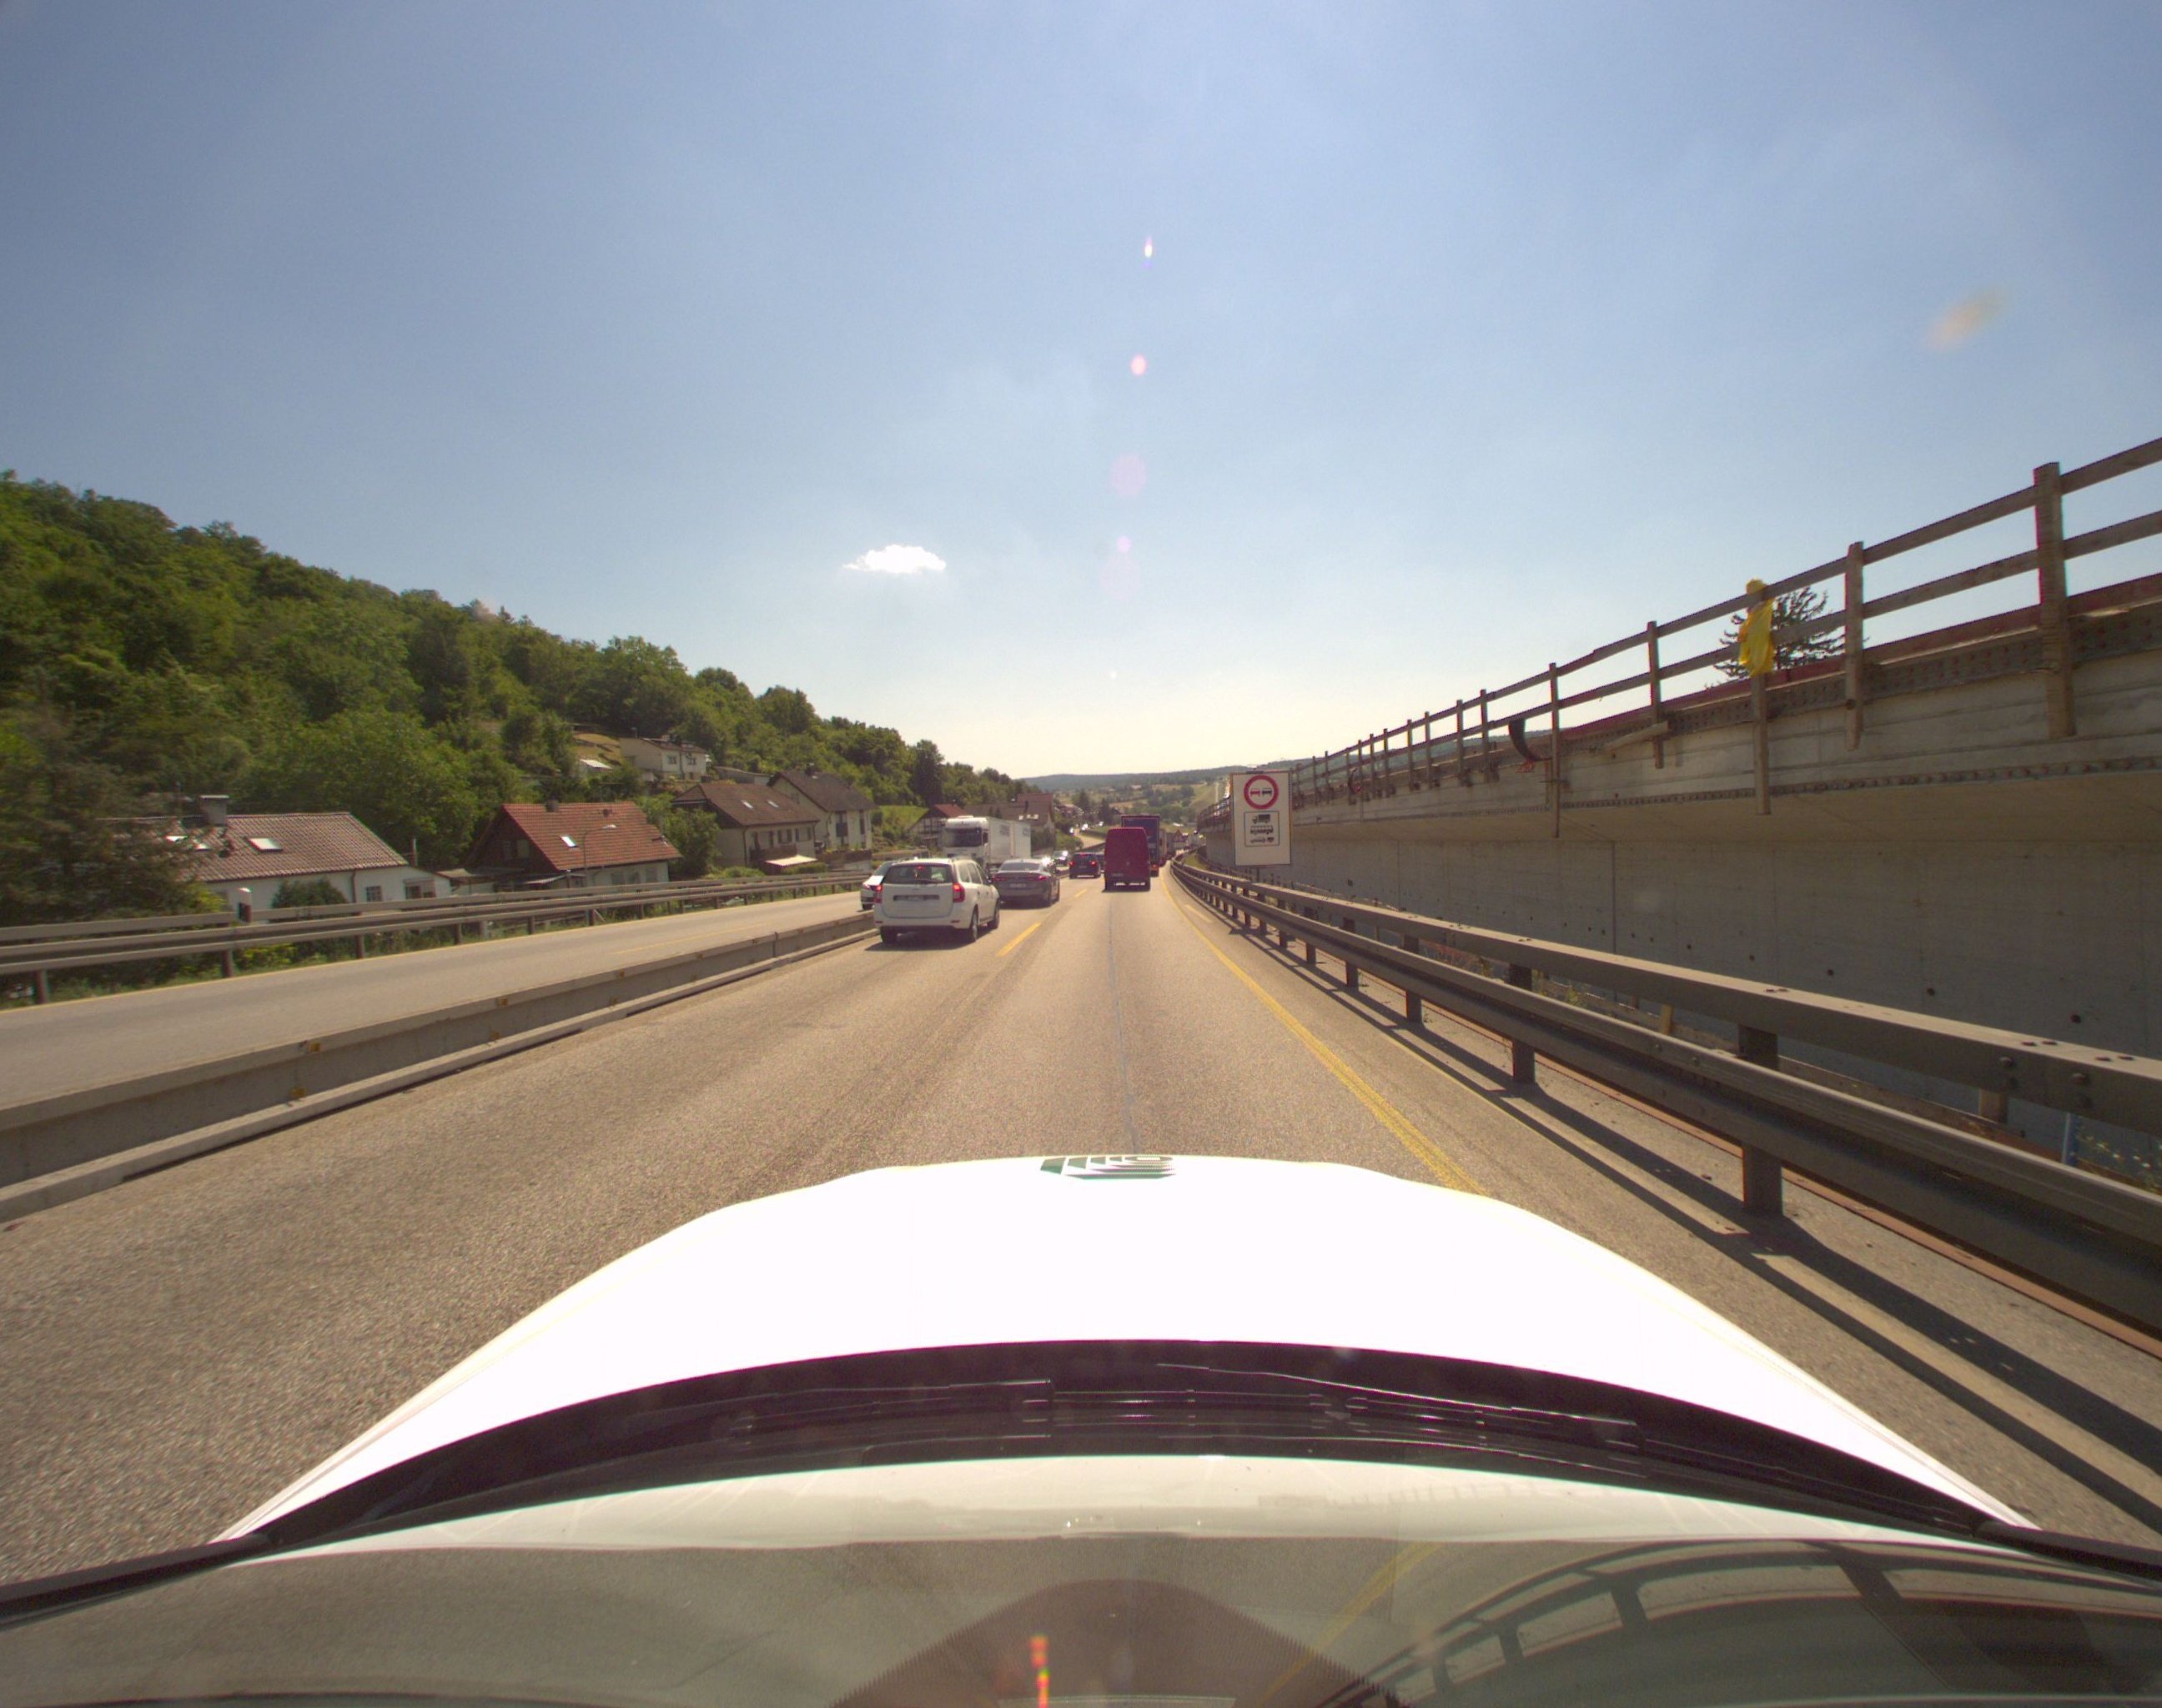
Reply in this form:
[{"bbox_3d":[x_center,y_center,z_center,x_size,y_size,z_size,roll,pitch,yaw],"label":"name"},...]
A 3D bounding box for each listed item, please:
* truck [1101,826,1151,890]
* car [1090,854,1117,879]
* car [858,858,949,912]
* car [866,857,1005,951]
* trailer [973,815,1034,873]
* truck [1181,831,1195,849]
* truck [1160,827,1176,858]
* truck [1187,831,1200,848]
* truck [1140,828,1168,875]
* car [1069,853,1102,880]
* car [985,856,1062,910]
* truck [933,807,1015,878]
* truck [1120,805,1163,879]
[{"bbox_3d":[2.004,0.198,35.483,1.984,2.579,4.004,-1,-1,4],"label":"truck"},{"bbox_3d":[1.812,1.005,65.118,1.720,1.838,4.008,-1,-1,8],"label":"car"},{"bbox_3d":[-5.330,0.915,25.008,1.574,1.522,4.159,0,-1,5],"label":"car"},{"bbox_3d":[-2.650,0.873,15.811,1.645,1.483,4.270,-3,-1,3],"label":"car"},{"bbox_3d":[-5.829,-0.722,63.356,2.989,4.165,9.031,-1,0,5],"label":"trailer"},{"bbox_3d":[27.443,-3.520,209.352,3.050,4.381,8.580,-1,-1,10],"label":"truck"},{"bbox_3d":[12.744,-1.665,119.592,1.981,4.381,4.011,-1,-1,10],"label":"truck"},{"bbox_3d":[31.812,-4.108,230.058,3.446,4.381,8.580,-1,-1,10],"label":"truck"},{"bbox_3d":[7.982,-0.177,88.756,2.772,4.816,9.700,-1,-1,6],"label":"truck"},{"bbox_3d":[0.315,0.795,52.123,1.801,1.608,3.724,-1,-1,5],"label":"car"},{"bbox_3d":[-1.693,0.843,25.139,1.787,1.485,4.053,-1,0,4],"label":"car"},{"bbox_3d":[-6.773,-0.680,53.638,2.963,4.162,10.561,-1,0,6],"label":"truck"},{"bbox_3d":[4.480,-0.721,58.610,2.772,4.816,9.700,-1,-1,6],"label":"truck"}]
